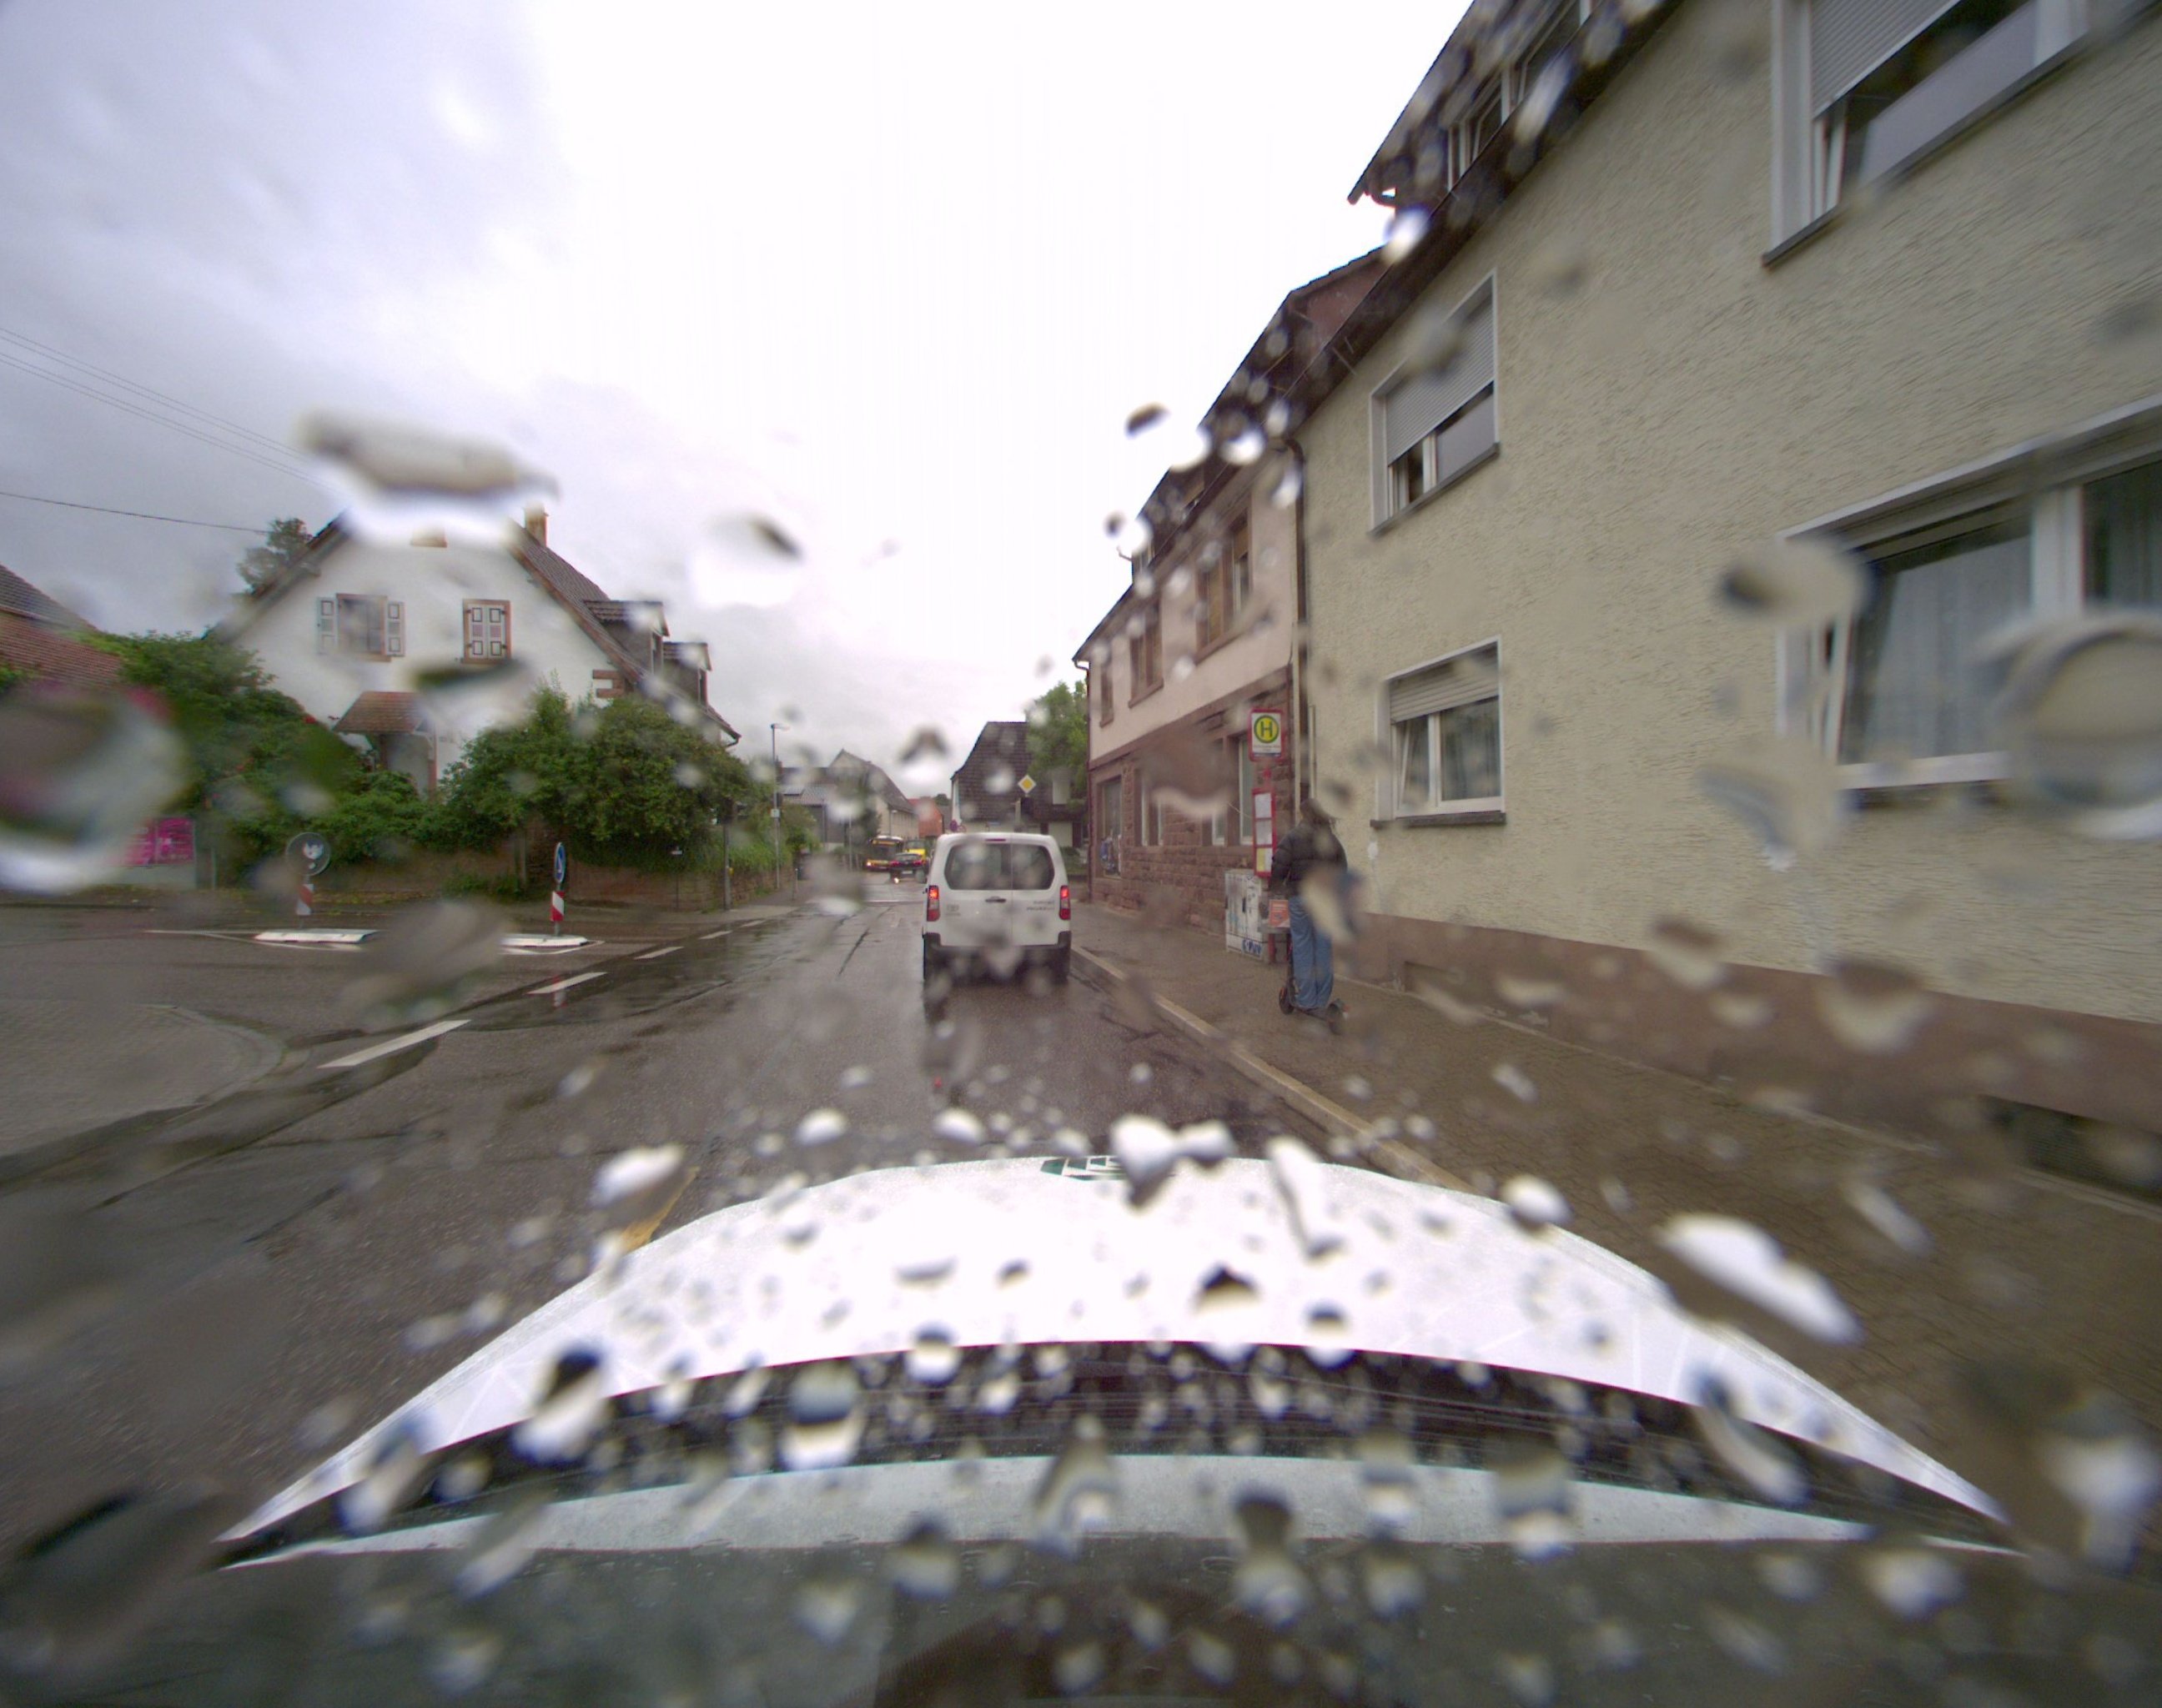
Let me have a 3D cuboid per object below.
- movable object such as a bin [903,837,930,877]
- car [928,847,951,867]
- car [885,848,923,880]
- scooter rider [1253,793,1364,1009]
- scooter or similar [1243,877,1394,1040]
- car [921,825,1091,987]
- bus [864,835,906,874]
[{"bbox_3d":[-11.454,0.191,57.008,1.727,2.653,3.960,1,0,-10],"label":"movable object such as a bin"},{"bbox_3d":[-14.516,0.313,83.669,1.893,1.947,3.992,-2,0,-6],"label":"car"},{"bbox_3d":[-9.113,0.484,42.162,1.810,1.596,3.741,1,0,-11],"label":"car"},{"bbox_3d":[1.905,0.375,6.858,0.731,1.733,0.516,0,-1,-12],"label":"scooter rider"},{"bbox_3d":[1.909,0.789,6.731,0.621,1.127,1.396,0,1,-12],"label":"scooter or similar"},{"bbox_3d":[-1.199,0.576,11.096,1.895,1.794,3.798,1,0,-12],"label":"car"},{"bbox_3d":[-17.015,-0.099,71.416,2.649,2.999,12.156,0,2,-9],"label":"bus"}]
